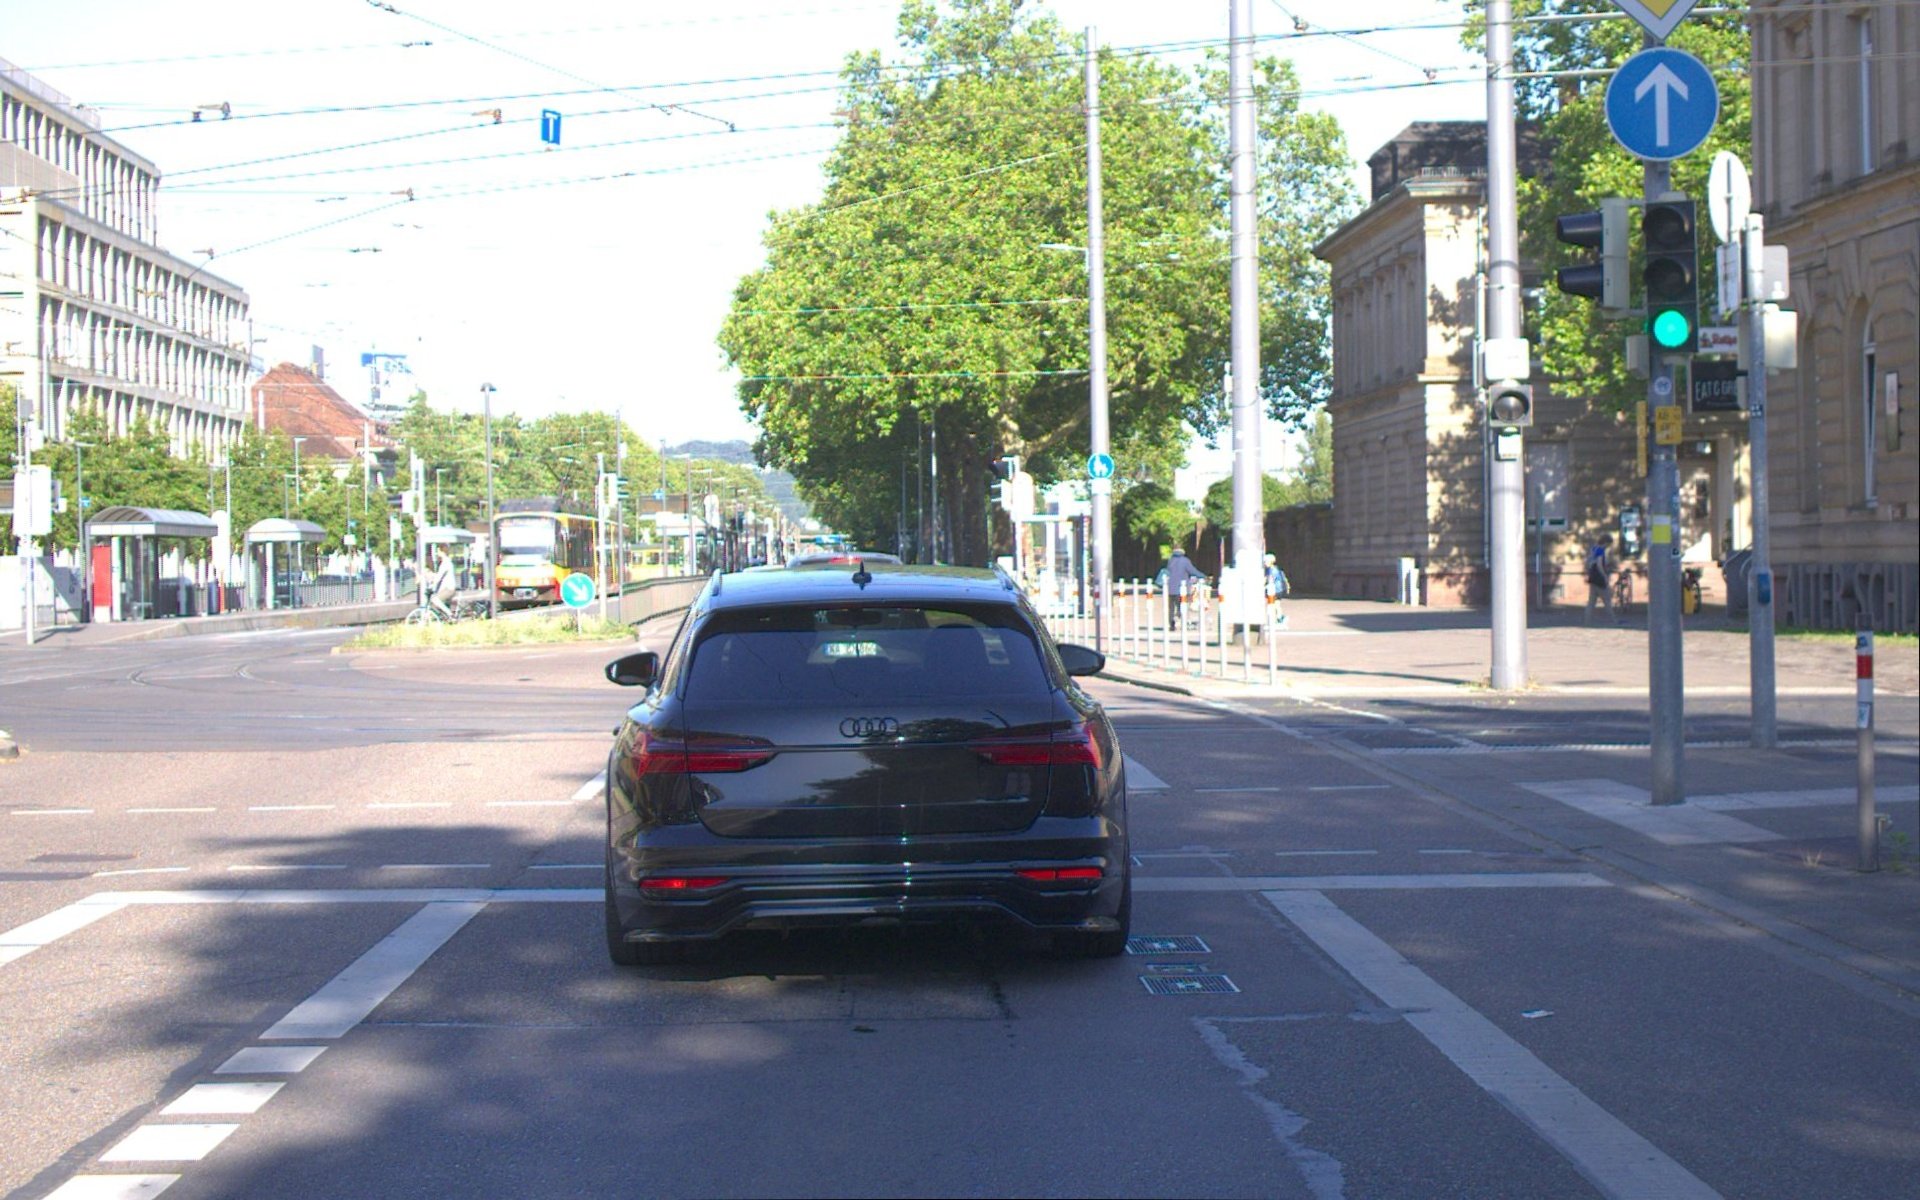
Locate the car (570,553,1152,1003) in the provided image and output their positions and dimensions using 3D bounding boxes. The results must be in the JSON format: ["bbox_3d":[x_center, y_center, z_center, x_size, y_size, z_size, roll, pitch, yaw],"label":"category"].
[{"bbox_3d":[-0.378,0.559,13.438,1.902,1.417,4.145,-1,1,-1],"label":"car"}]

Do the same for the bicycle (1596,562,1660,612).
[{"bbox_3d":[14.376,-0.288,74.090,0.526,1.043,2.360,-1,1,-10],"label":"bicycle"}]

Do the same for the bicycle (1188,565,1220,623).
[{"bbox_3d":[4.941,-0.125,69.634,0.434,1.141,1.340,-1,1,-4],"label":"bicycle"}]

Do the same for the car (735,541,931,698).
[{"bbox_3d":[-1.300,0.152,35.847,1.902,1.481,4.145,-1,1,-1],"label":"car"}]

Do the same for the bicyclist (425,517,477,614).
[{"bbox_3d":[-9.631,-0.654,65.026,0.756,1.812,0.765,-1,1,-25],"label":"bicyclist"}]

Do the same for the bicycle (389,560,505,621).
[{"bbox_3d":[-9.704,-0.180,65.017,2.005,1.104,0.765,-2,1,-25],"label":"bicycle"}]

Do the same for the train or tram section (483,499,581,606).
[{"bbox_3d":[-14.537,-1.638,117.447,2.608,3.439,11.134,-1,1,-4],"label":"train or tram section"}]

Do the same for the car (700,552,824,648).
[{"bbox_3d":[-3.273,-0.030,57.454,1.902,1.481,4.145,-1,1,-1],"label":"car"}]

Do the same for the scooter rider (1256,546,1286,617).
[{"bbox_3d":[6.158,-0.370,68.104,0.484,1.381,0.377,-2,0,-4],"label":"scooter rider"}]

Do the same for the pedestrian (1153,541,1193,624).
[{"bbox_3d":[4.314,-0.366,69.590,0.682,1.655,0.758,-1,1,-4],"label":"pedestrian"}]

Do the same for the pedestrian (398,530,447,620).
[{"bbox_3d":[-10.397,-0.486,66.514,0.740,1.735,0.664,-1,1,-25],"label":"pedestrian"}]

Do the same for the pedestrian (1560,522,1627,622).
[{"bbox_3d":[12.018,-0.531,65.232,0.979,1.859,0.827,-1,1,-10],"label":"pedestrian"}]

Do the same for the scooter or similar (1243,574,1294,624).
[{"bbox_3d":[6.107,-0.019,68.102,0.938,0.963,0.361,-2,0,-4],"label":"scooter or similar"}]

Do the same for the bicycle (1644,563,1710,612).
[{"bbox_3d":[15.442,-0.280,74.097,0.526,1.043,2.360,-1,1,-10],"label":"bicycle"}]
